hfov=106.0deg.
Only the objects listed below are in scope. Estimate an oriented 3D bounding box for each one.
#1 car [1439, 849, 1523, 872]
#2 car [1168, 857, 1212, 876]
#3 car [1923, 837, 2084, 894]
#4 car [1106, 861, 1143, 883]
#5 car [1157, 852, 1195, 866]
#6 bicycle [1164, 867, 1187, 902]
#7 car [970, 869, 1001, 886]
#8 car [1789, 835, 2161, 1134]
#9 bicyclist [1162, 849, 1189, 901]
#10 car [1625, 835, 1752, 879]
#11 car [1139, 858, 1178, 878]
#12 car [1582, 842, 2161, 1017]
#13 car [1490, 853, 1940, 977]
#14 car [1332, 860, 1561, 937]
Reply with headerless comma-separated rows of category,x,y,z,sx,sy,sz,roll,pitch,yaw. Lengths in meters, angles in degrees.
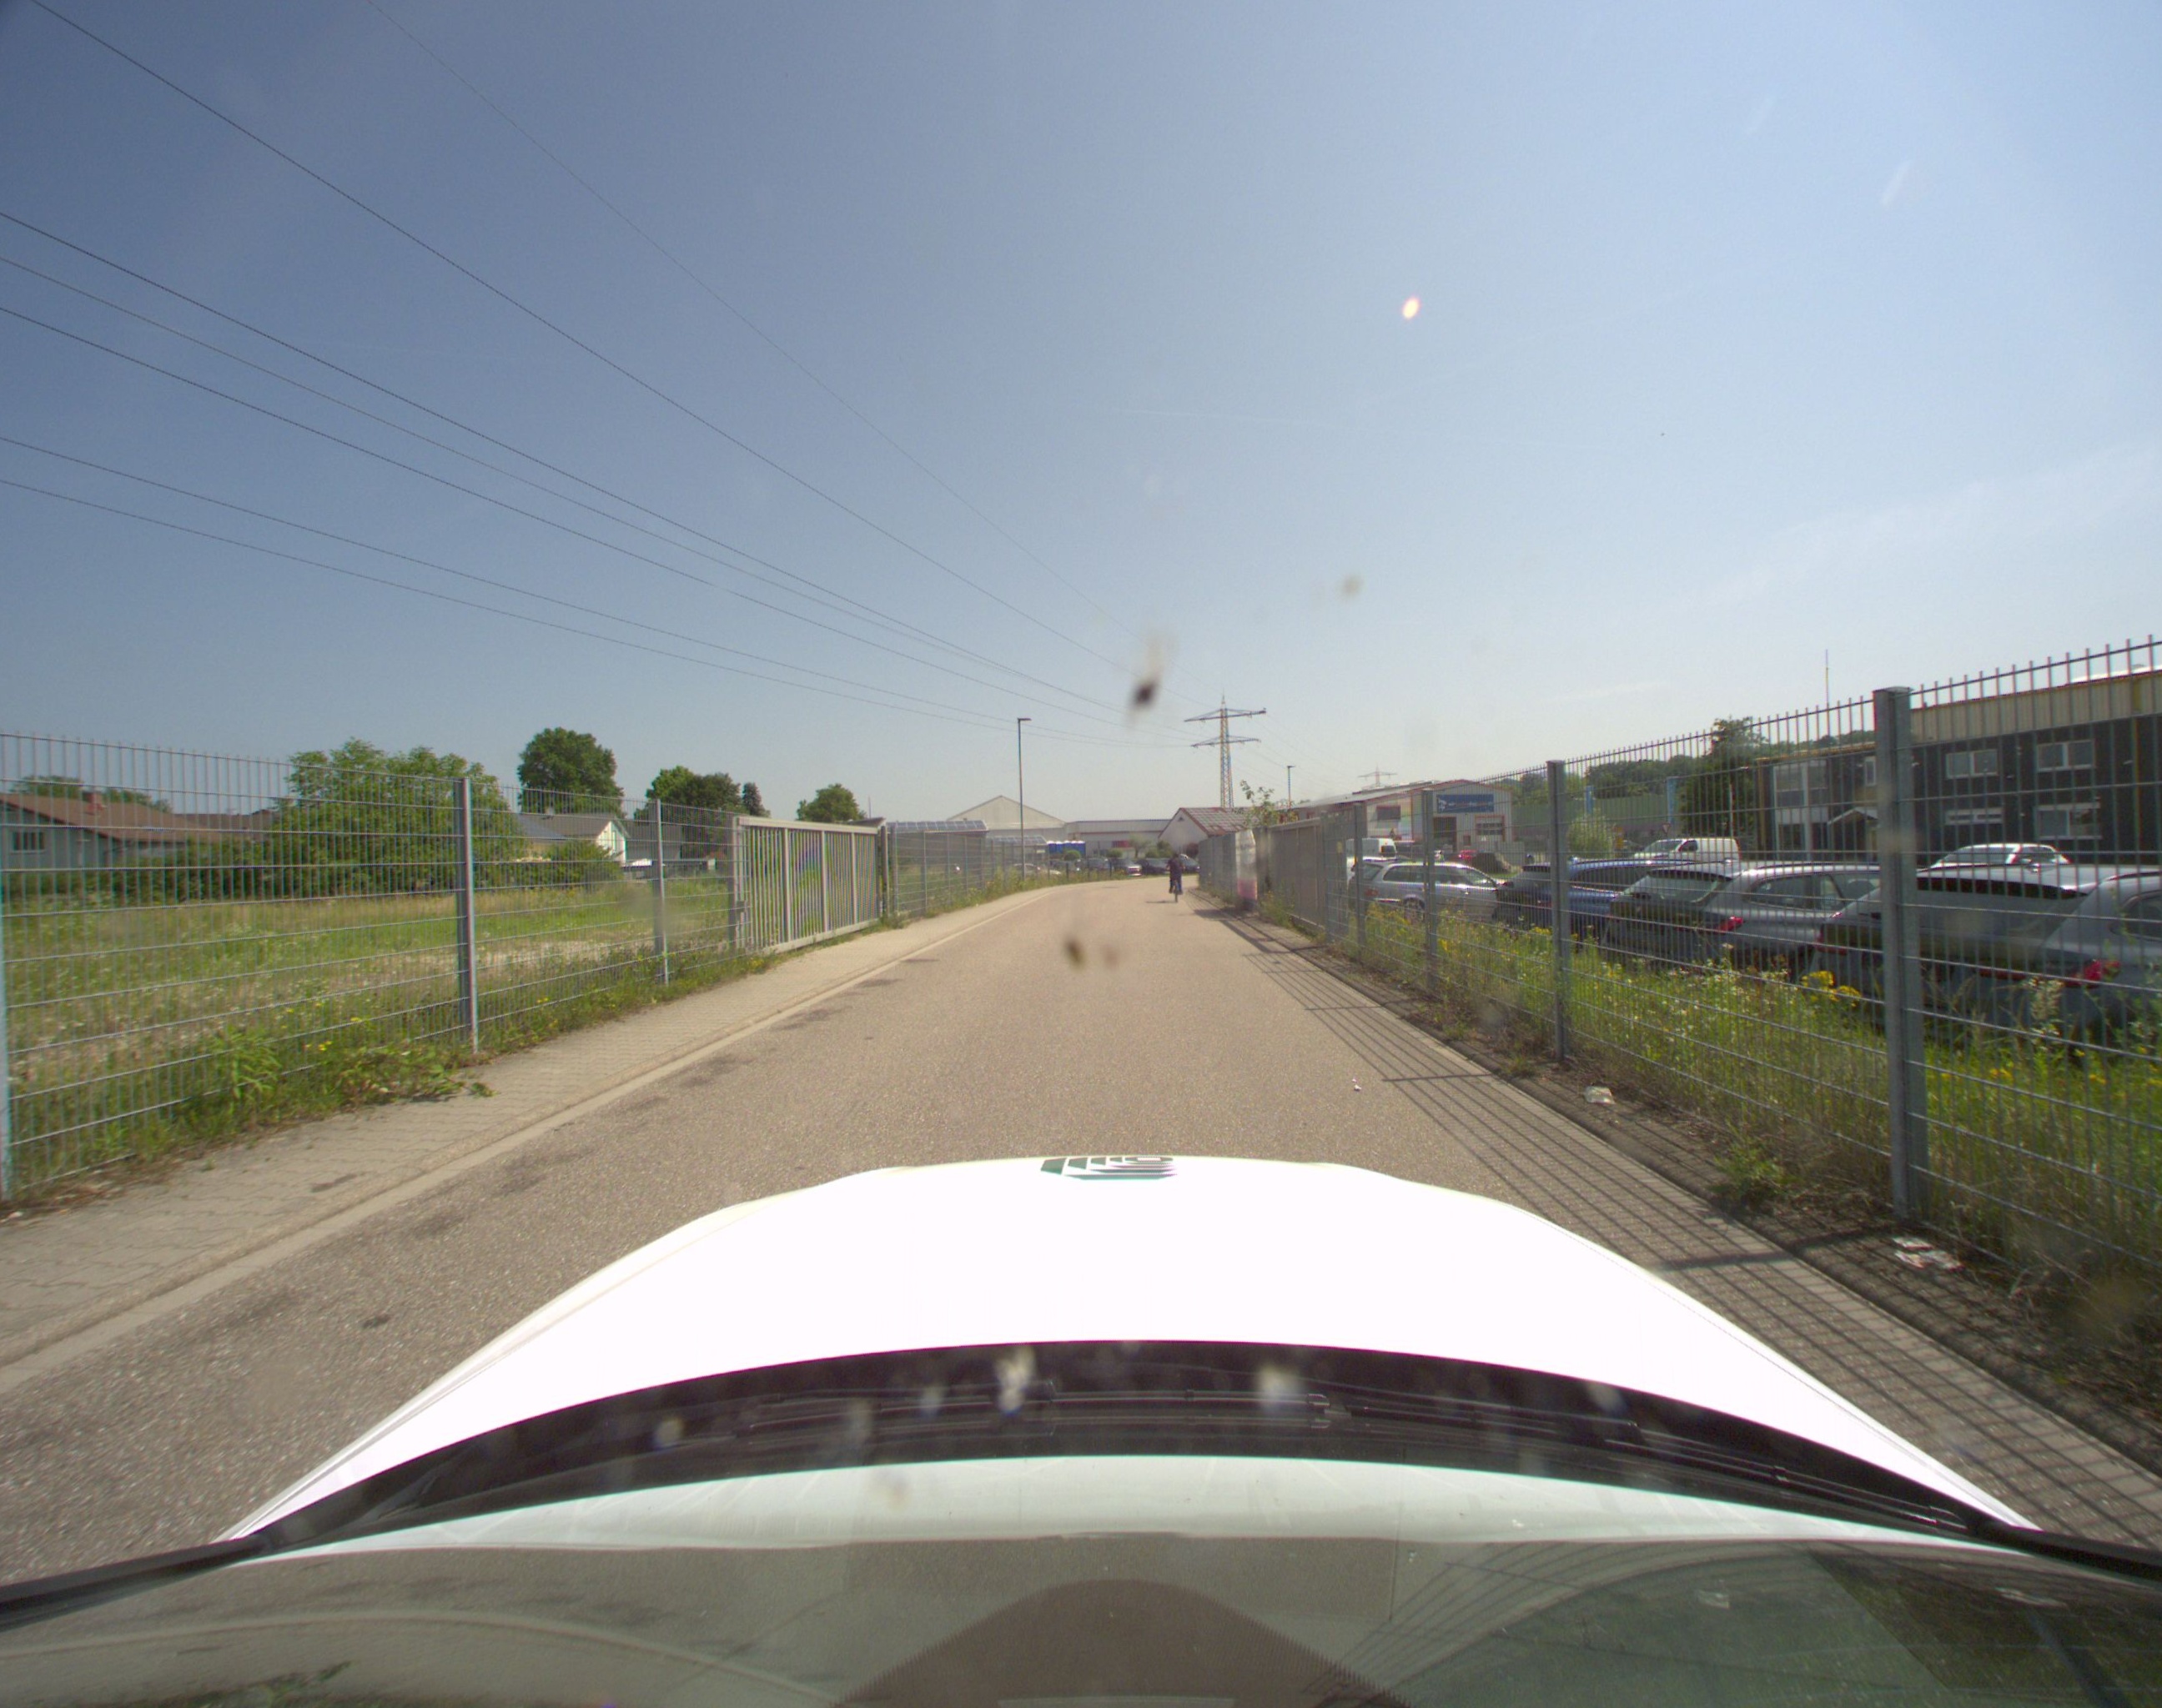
car,23.192,0.389,47.335,1.916,1.277,3.884,-1,0,-37
car,9.070,1.045,68.219,2.000,1.435,4.640,-1,-1,-16
car,25.705,0.298,22.712,3.662,1.436,1.528,-1,0,-16
car,3.496,1.465,66.047,1.866,1.644,3.614,-1,-1,-16
car,10.973,0.577,94.363,3.993,1.598,1.868,-2,0,-15
bicycle,3.080,0.965,26.493,0.681,1.051,1.904,-1,0,7
car,-7.888,1.943,66.941,1.868,1.298,3.420,-1,-1,-18
car,7.171,0.659,4.762,4.494,1.406,1.838,1,0,0
bicyclist,3.077,0.665,26.432,0.838,1.618,1.041,0,1,7
car,28.305,0.125,38.012,5.063,1.899,1.850,-2,0,-12
car,6.310,1.141,66.525,1.866,1.554,3.750,-1,-1,-16
car,7.546,0.649,7.783,4.491,1.406,1.639,1,0,2
car,8.097,0.736,10.773,4.488,1.406,1.770,1,0,4
car,7.664,0.906,17.313,4.151,1.474,1.637,1,0,-1
